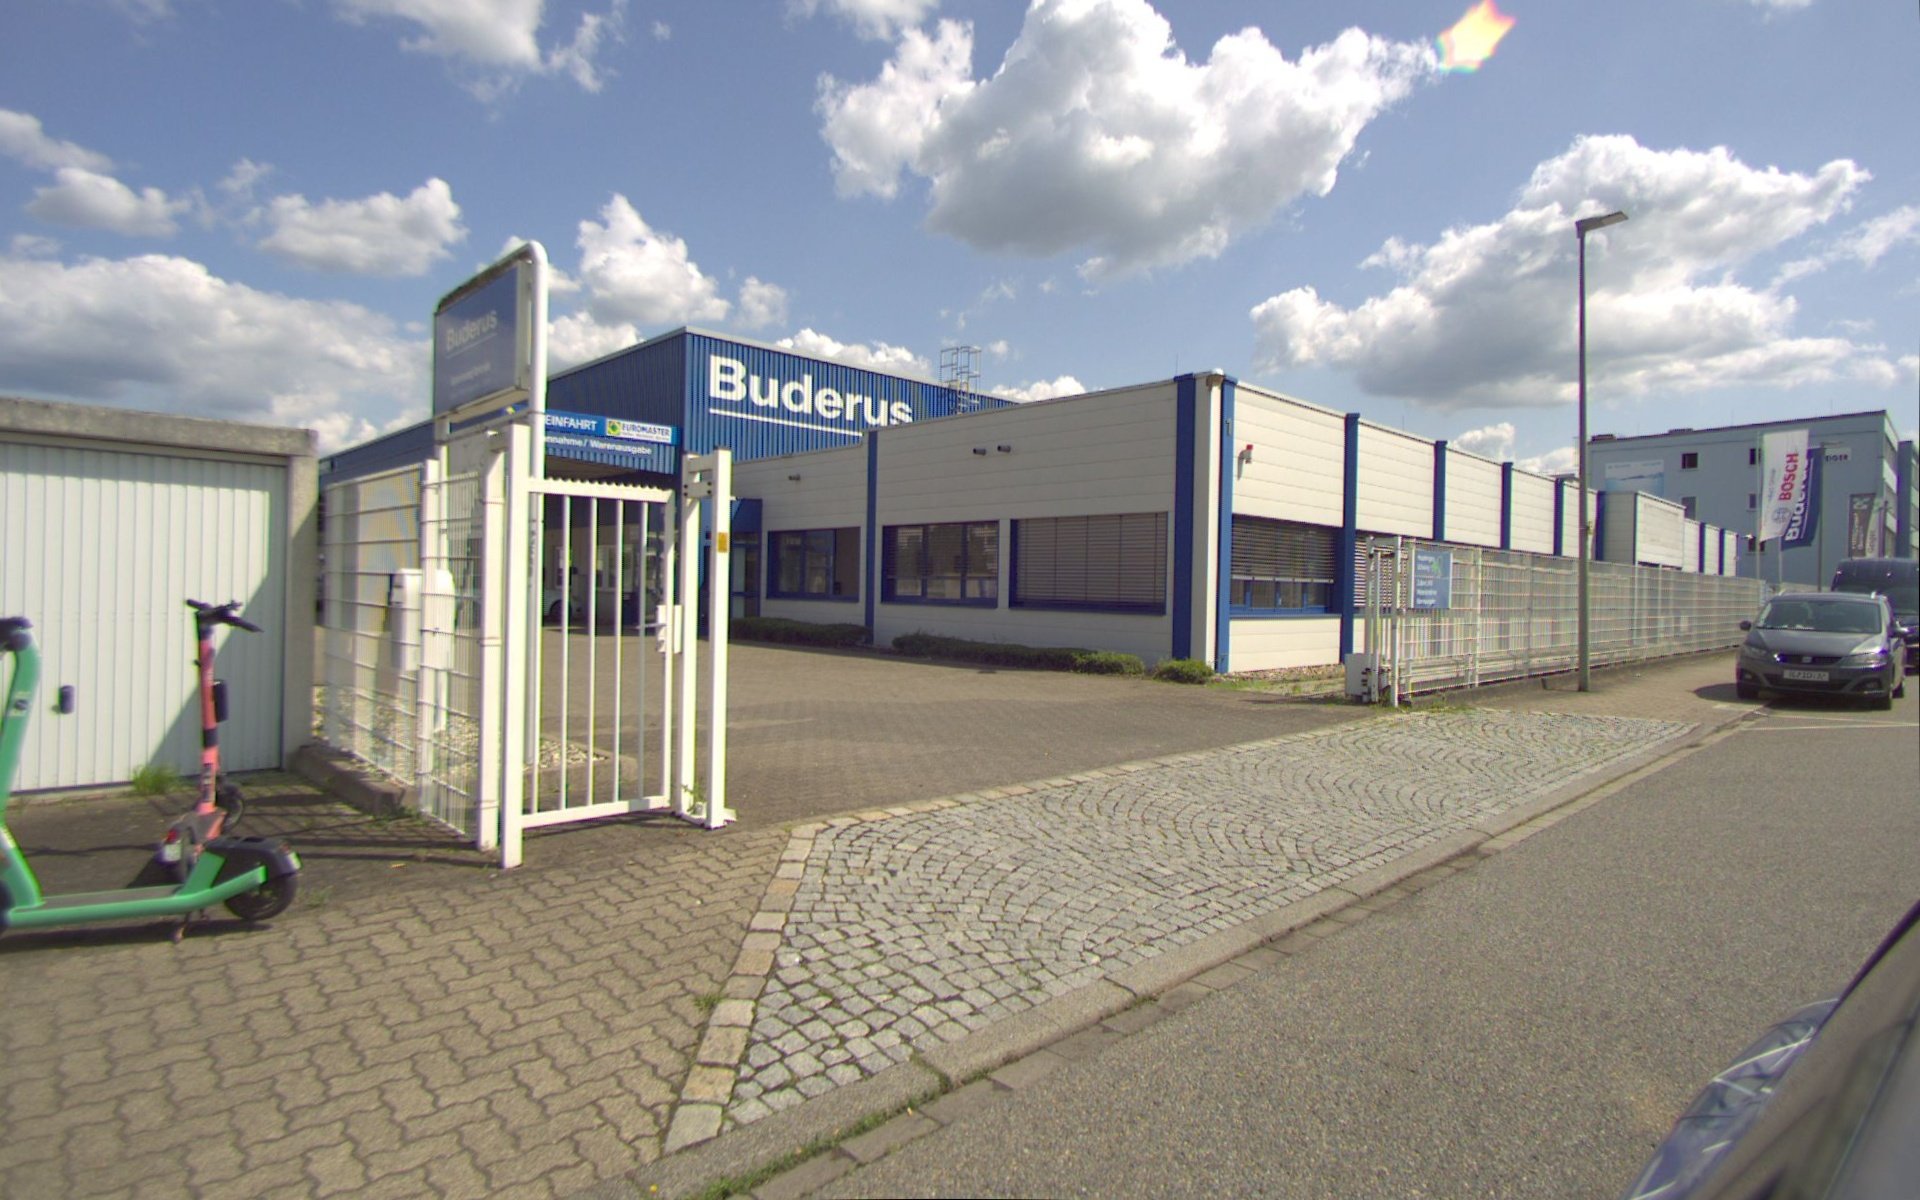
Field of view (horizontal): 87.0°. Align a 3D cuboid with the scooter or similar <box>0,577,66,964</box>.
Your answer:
[{"bbox_3d":[-3.424,0.585,3.586,0.360,1.329,0.333,1,0,-44],"label":"scooter or similar"}]

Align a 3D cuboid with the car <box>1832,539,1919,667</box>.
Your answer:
[{"bbox_3d":[22.799,0.058,24.527,6.052,2.783,1.939,0,1,-44],"label":"car"}]

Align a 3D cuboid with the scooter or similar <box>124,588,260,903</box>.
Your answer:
[{"bbox_3d":[-3.522,0.587,4.691,0.254,1.261,1.152,1,1,-25],"label":"scooter or similar"}]

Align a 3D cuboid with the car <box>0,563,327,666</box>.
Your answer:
[{"bbox_3d":[-13.446,0.189,16.496,5.010,1.496,1.995,0,1,-44],"label":"car"}]

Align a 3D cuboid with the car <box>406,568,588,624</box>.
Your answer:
[{"bbox_3d":[-13.787,-0.173,30.333,4.707,1.565,1.668,-1,2,-43],"label":"car"}]

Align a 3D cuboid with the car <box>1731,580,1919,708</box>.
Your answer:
[{"bbox_3d":[13.605,0.579,15.743,4.479,1.685,1.827,0,1,-43],"label":"car"}]

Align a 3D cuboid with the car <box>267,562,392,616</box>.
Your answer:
[{"bbox_3d":[-24.650,-0.419,39.632,3.892,2.039,1.668,0,1,-43],"label":"car"}]

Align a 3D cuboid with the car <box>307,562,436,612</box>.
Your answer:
[{"bbox_3d":[-21.886,-0.465,37.733,3.892,1.764,1.668,0,1,-43],"label":"car"}]
